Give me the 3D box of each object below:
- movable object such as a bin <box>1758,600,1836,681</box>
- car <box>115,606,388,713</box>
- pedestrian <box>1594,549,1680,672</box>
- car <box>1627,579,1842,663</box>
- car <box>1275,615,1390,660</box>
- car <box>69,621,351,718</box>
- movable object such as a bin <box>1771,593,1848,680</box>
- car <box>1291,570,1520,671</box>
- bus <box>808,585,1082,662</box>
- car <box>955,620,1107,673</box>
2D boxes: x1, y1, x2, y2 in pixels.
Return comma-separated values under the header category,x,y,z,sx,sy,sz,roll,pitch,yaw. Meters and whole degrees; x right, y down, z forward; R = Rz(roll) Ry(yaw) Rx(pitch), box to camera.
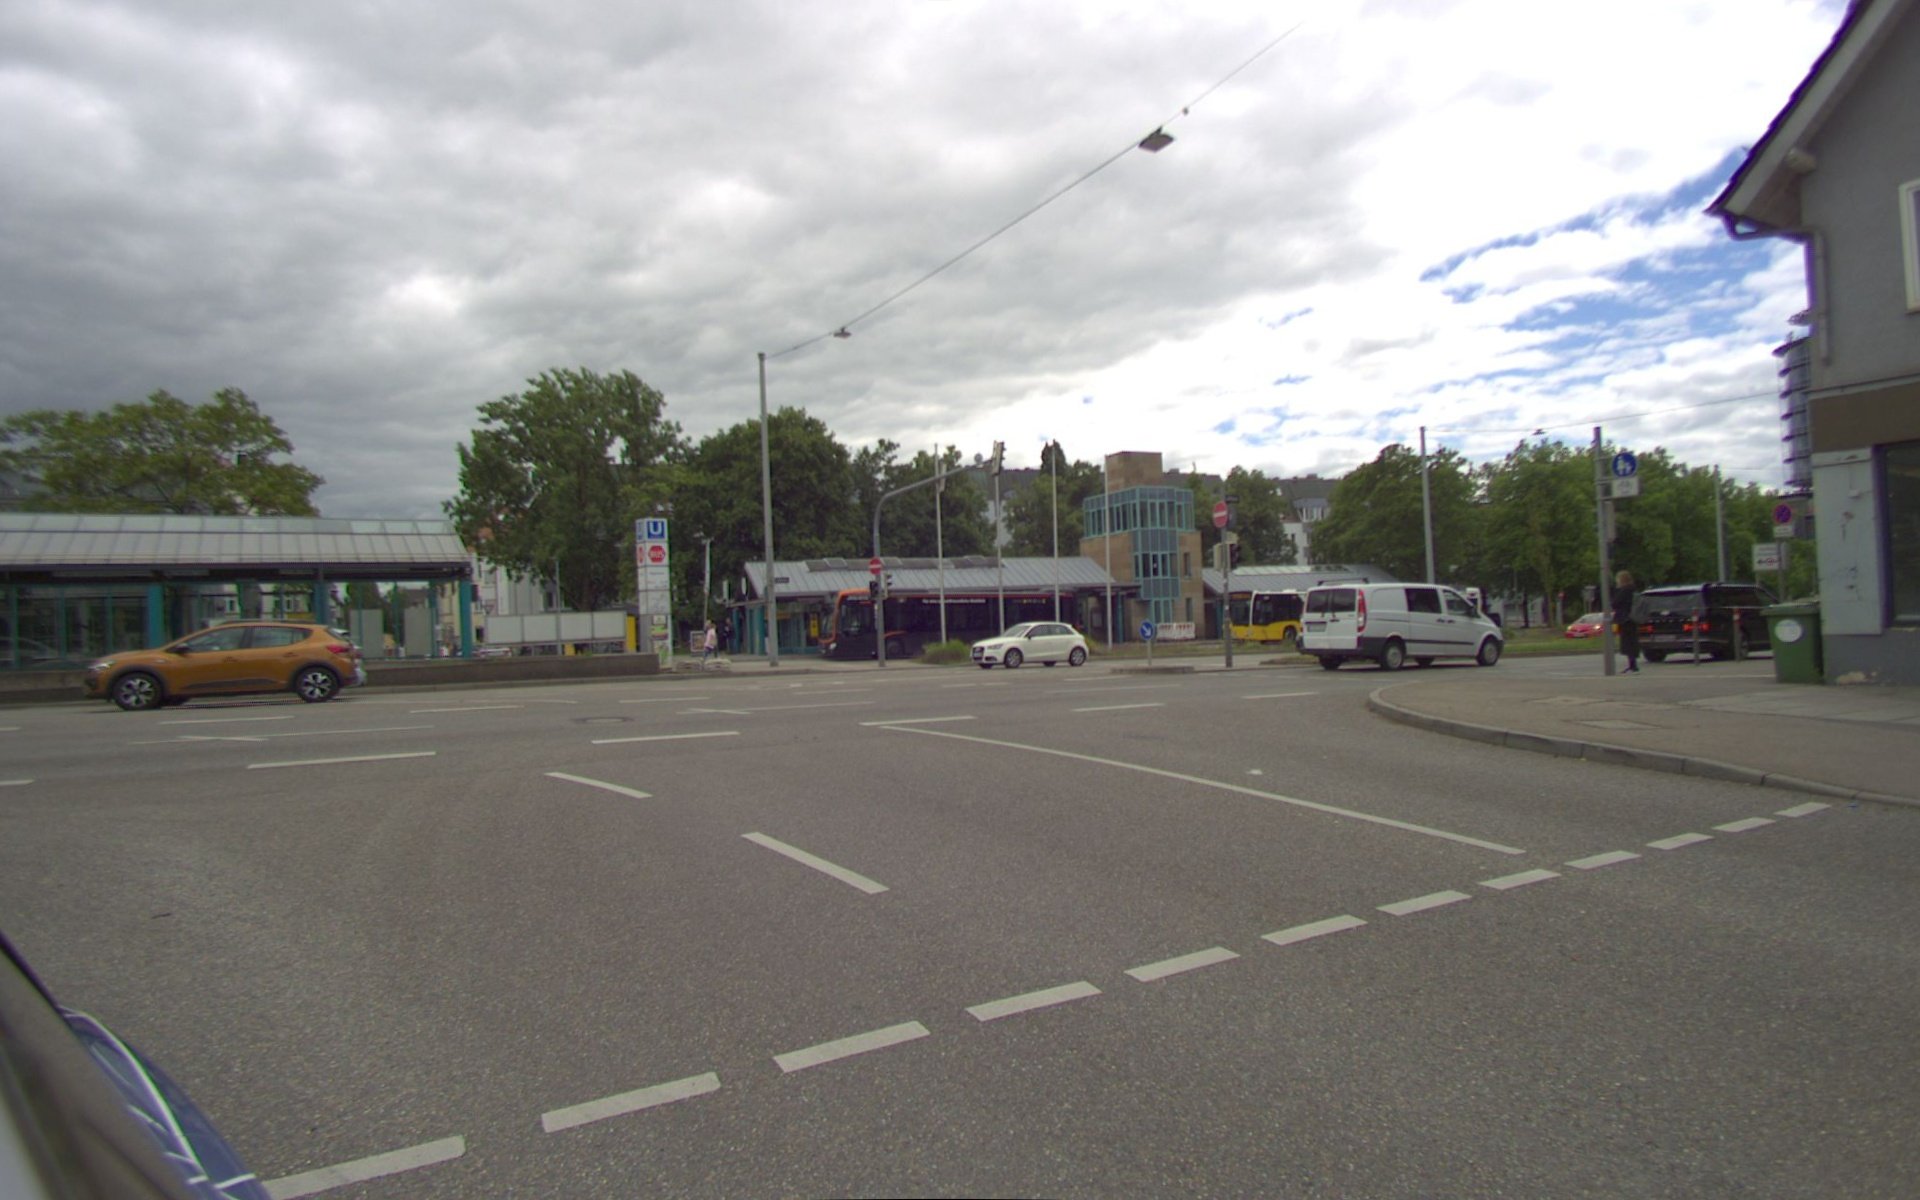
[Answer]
category,x,y,z,sx,sy,sz,roll,pitch,yaw
movable object such as a bin,10.613,0.506,12.841,0.564,0.995,0.600,0,-3,-35
car,-14.608,1.171,21.207,4.491,2.029,2.006,0,-2,-32
pedestrian,11.498,0.184,17.201,0.862,2.029,0.776,0,-3,-23
car,17.641,0.448,23.031,4.597,1.765,1.935,0,-2,-25
car,14.238,1.430,38.648,3.931,1.586,2.006,0,-3,-30
car,-13.402,1.208,18.448,3.932,1.528,2.006,0,-3,-31
movable object such as a bin,11.084,0.474,13.208,0.564,1.110,0.600,0,-3,-35
car,10.053,0.444,22.763,4.988,2.029,1.885,-1,-3,-27
bus,-0.538,0.989,45.216,11.948,3.157,2.976,0,-2,-23
car,2.248,1.435,31.942,4.415,1.518,2.006,0,-2,-31
